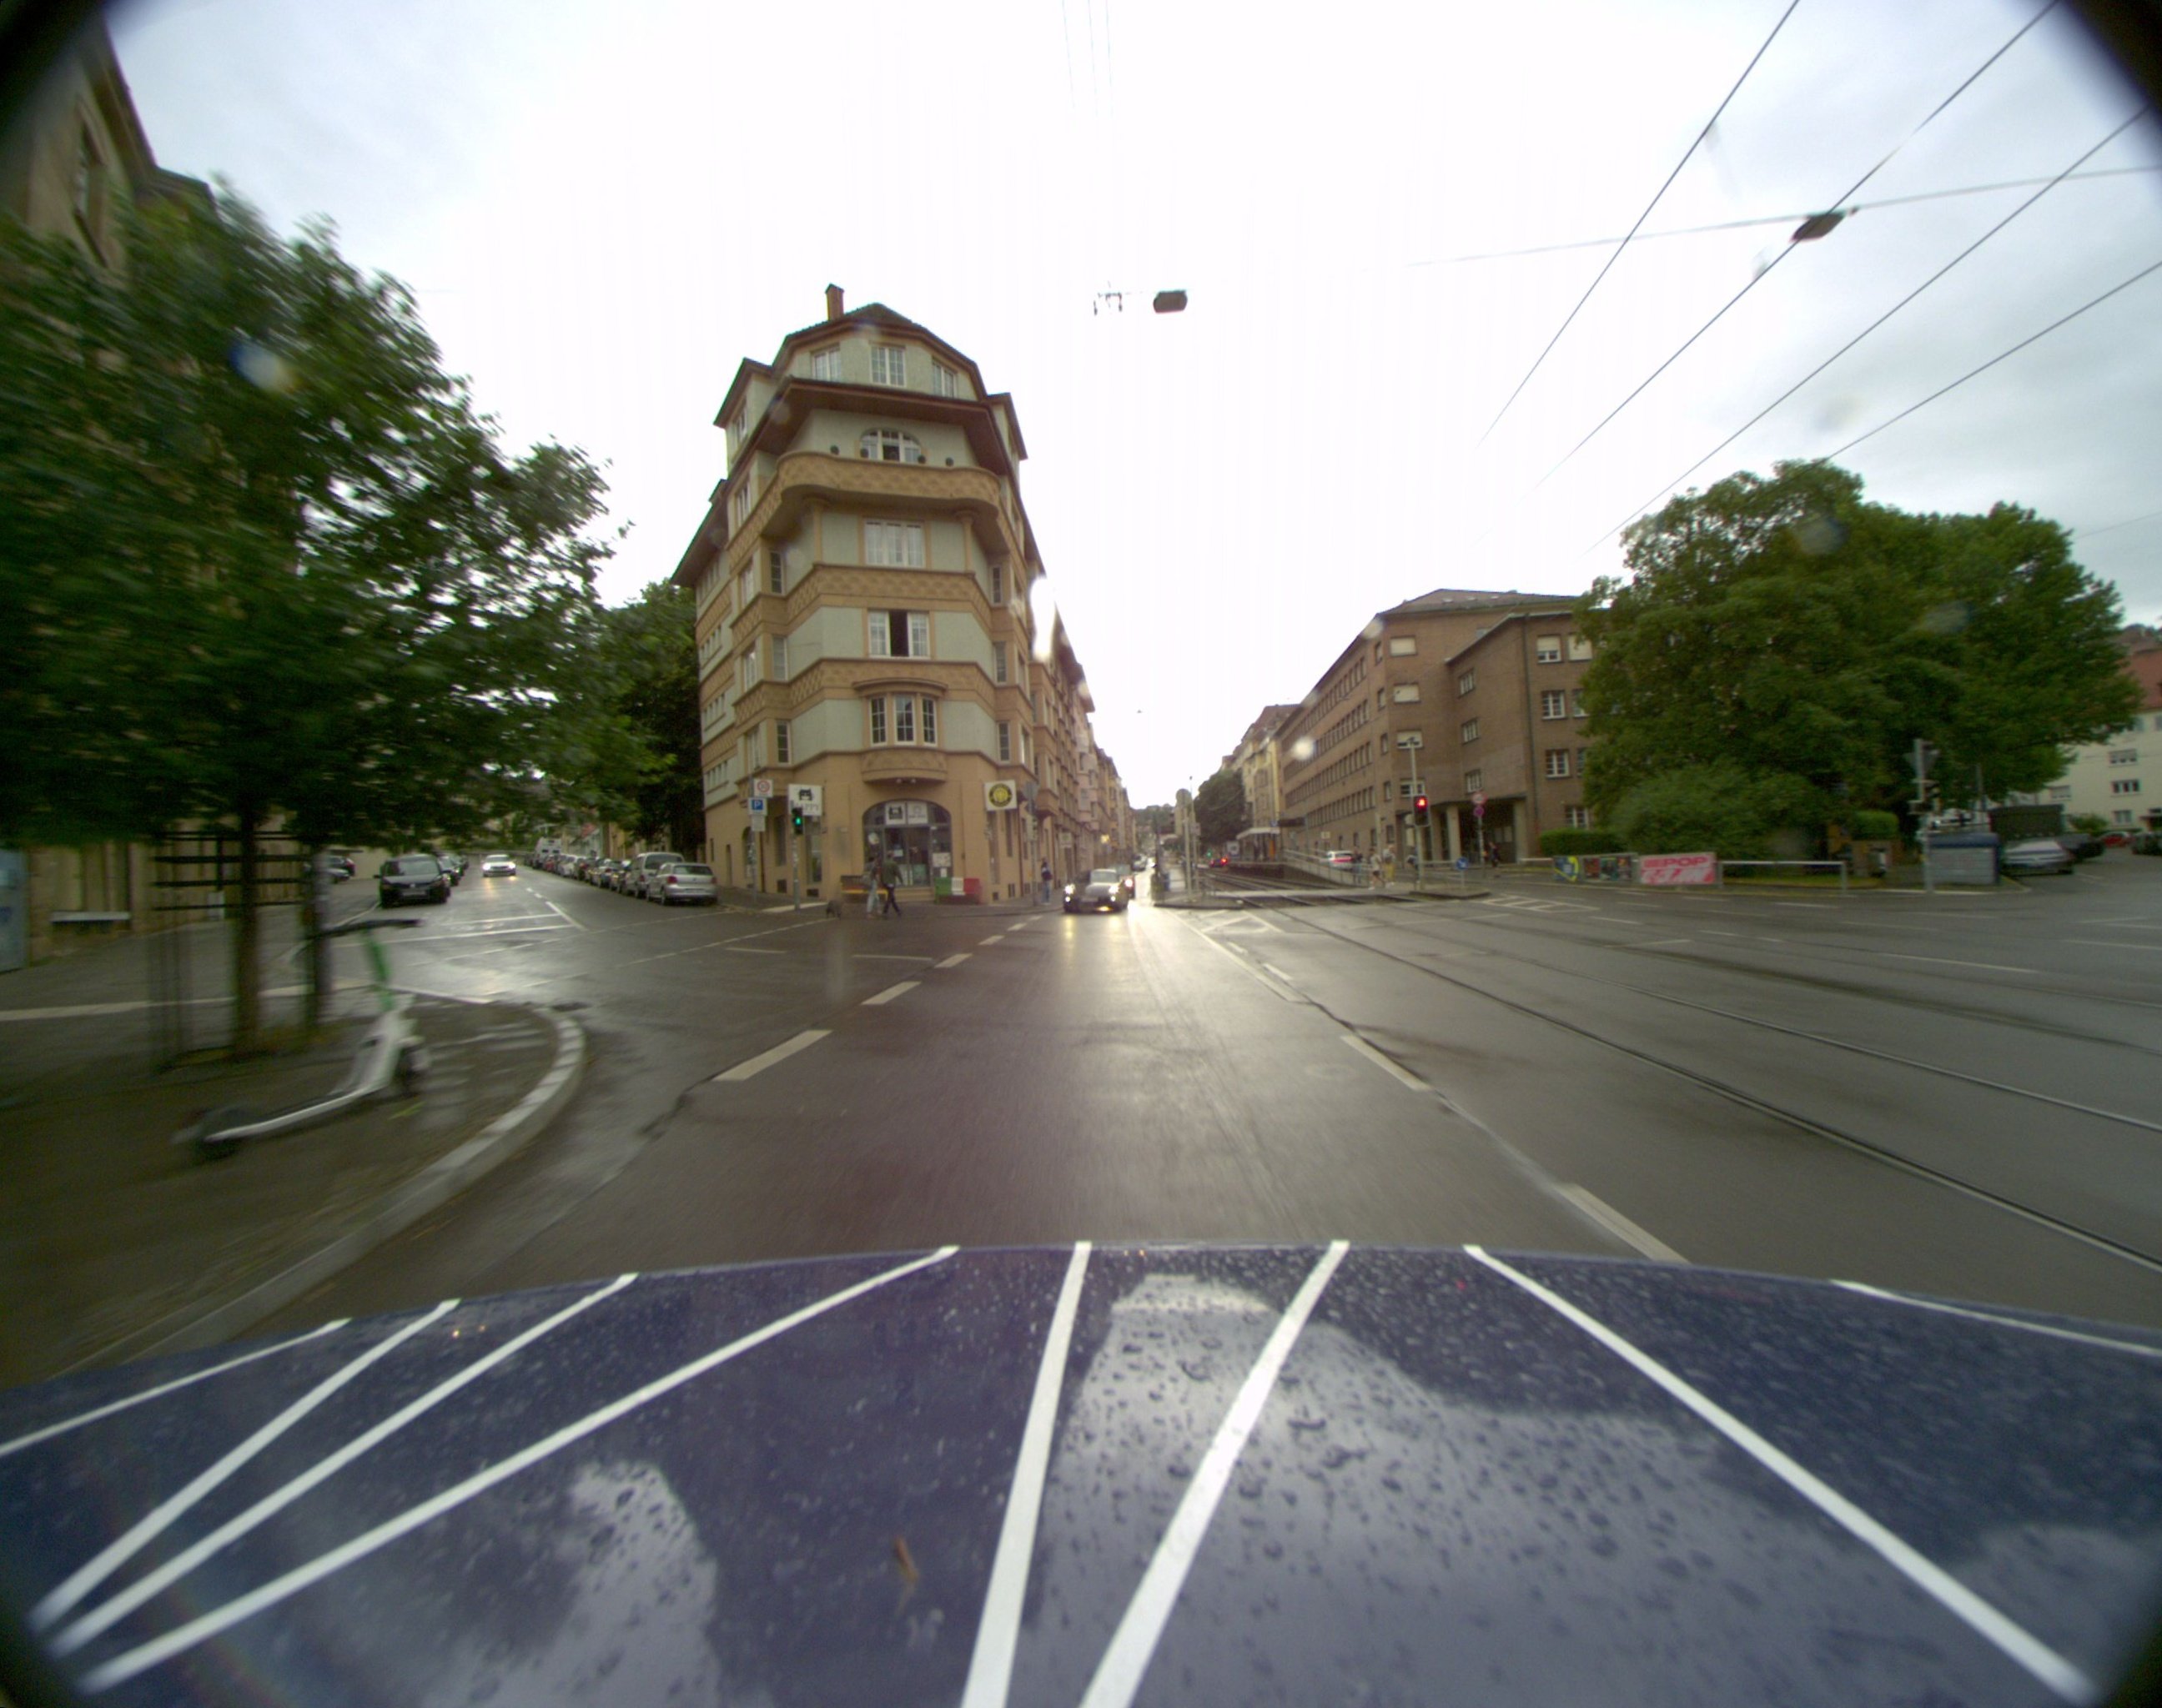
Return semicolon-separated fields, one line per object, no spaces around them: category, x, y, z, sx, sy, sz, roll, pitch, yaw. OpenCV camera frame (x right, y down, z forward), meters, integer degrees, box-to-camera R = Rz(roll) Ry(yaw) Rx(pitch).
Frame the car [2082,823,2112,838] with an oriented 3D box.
car;95.248;-2.200;71.247;3.708;1.395;1.567;-2;0;-38

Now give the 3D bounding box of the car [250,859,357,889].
car;-44.499;1.140;43.618;4.006;1.474;1.739;-3;0;-36

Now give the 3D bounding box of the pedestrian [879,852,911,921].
pedestrian;-4.922;0.843;20.148;0.595;1.778;0.891;-1;0;2

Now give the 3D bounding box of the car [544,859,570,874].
car;-44.363;1.077;64.308;1.449;1.166;3.275;-5;2;-39

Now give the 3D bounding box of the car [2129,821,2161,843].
car;72.125;-1.511;50.981;3.708;1.395;1.737;-2;0;-42

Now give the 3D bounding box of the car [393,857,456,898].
car;-28.080;0.983;32.606;1.749;1.501;3.989;-8;4;-38

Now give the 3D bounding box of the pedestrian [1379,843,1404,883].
pedestrian;13.313;0.377;32.596;0.745;1.637;0.641;-4;0;6

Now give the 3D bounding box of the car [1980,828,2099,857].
car;52.388;-0.609;41.656;1.746;1.469;3.989;-2;0;-41

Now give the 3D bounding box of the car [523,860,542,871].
car;-61.754;1.280;85.538;1.449;1.166;3.275;-5;2;-39

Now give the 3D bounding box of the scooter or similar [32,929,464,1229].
scooter or similar;-4.418;1.101;4.229;0.639;1.203;1.553;-2;0;1

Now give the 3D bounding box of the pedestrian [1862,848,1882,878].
pedestrian;28.718;0.329;27.599;0.417;1.078;0.283;-2;0;29

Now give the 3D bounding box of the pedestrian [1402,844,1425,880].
pedestrian;15.156;0.366;34.626;0.766;1.640;0.649;-1;0;4

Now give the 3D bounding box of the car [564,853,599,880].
car;-32.537;0.818;49.495;1.449;1.565;3.275;-5;3;-39

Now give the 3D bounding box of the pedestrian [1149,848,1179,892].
pedestrian;3.959;0.758;36.270;0.949;2.002;0.927;-3;0;-39

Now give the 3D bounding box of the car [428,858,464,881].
car;-47.025;1.147;56.320;1.749;1.501;3.989;-8;4;-38

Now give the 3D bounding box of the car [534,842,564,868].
car;-51.154;0.122;73.033;1.954;2.443;3.802;-2;0;-39

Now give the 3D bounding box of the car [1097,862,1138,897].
car;1.719;1.148;35.281;1.689;1.451;3.300;-1;0;6

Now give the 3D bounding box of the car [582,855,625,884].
car;-25.789;0.846;41.025;1.449;1.417;3.290;-5;3;-39

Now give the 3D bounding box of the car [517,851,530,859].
car;-87.900;0.116;119.818;1.449;1.166;3.275;-5;2;-39

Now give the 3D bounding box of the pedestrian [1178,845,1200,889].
pedestrian;5.087;0.620;35.881;0.899;2.002;0.948;-3;0;5

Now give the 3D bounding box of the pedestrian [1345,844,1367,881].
pedestrian;12.972;0.382;35.856;0.666;1.688;0.688;-4;1;3

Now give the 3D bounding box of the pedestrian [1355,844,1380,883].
pedestrian;13.062;0.422;34.614;0.745;1.686;0.883;-4;1;4

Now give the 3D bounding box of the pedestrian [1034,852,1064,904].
pedestrian;-1.137;0.838;27.202;0.967;1.829;0.903;1;0;5

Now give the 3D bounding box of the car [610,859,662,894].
car;-19.532;0.964;33.303;1.449;1.417;3.290;-3;1;-39

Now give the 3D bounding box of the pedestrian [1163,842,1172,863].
pedestrian;7.498;-0.134;65.584;0.645;1.764;0.711;-3;0;5

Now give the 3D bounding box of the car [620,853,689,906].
car;-16.717;0.973;29.729;1.608;1.834;3.545;-5;3;-39

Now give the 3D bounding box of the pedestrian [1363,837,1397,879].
pedestrian;11.443;0.152;29.075;0.956;1.573;0.694;-2;0;-7

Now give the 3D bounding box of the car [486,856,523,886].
car;-40.336;1.178;53.126;1.749;1.862;3.989;-8;4;-38

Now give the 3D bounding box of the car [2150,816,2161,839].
car;65.252;-1.606;45.007;4.008;1.395;1.737;-2;0;-43

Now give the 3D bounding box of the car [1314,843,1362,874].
car;17.629;0.264;52.438;1.998;1.619;5.250;-1;5;5

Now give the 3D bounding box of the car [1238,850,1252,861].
car;23.502;0.196;109.153;1.648;1.457;3.113;-3;0;7

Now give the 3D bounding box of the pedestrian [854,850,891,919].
pedestrian;-5.575;0.799;20.370;0.683;1.778;0.902;-1;0;2

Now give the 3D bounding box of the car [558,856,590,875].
car;-35.084;0.816;52.550;1.449;1.166;3.275;-5;2;-39

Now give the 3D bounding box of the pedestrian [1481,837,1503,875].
pedestrian;18.746;0.088;34.641;0.605;1.665;0.689;-2;0;3

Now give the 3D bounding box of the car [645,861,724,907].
car;-13.616;0.990;26.009;1.694;1.451;3.525;1;-1;-39

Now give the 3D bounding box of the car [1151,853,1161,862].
car;15.286;0.713;155.449;1.805;1.892;4.001;-1;0;2

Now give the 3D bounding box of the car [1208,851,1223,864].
car;21.117;0.543;119.142;1.998;2.002;4.002;-1;0;5

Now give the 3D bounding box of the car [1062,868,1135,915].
car;0.670;1.152;24.521;1.703;1.280;4.199;1;0;10

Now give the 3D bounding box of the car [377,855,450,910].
car;-24.242;0.982;27.713;1.749;1.716;4.345;-6;3;-40

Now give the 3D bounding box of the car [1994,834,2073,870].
car;39.360;-0.105;31.472;4.008;1.395;1.737;-2;0;-43

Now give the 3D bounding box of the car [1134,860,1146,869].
car;9.581;1.691;123.561;1.632;1.443;4.002;-3;-1;7

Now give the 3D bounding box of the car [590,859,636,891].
car;-23.273;1.035;37.741;1.449;1.417;3.290;-5;3;-39

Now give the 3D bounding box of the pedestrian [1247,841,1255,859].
pedestrian;16.330;-0.342;72.951;0.588;1.699;0.491;-2;0;5

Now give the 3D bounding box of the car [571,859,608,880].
car;-29.385;0.940;45.434;1.449;1.119;3.069;-5;2;-39
